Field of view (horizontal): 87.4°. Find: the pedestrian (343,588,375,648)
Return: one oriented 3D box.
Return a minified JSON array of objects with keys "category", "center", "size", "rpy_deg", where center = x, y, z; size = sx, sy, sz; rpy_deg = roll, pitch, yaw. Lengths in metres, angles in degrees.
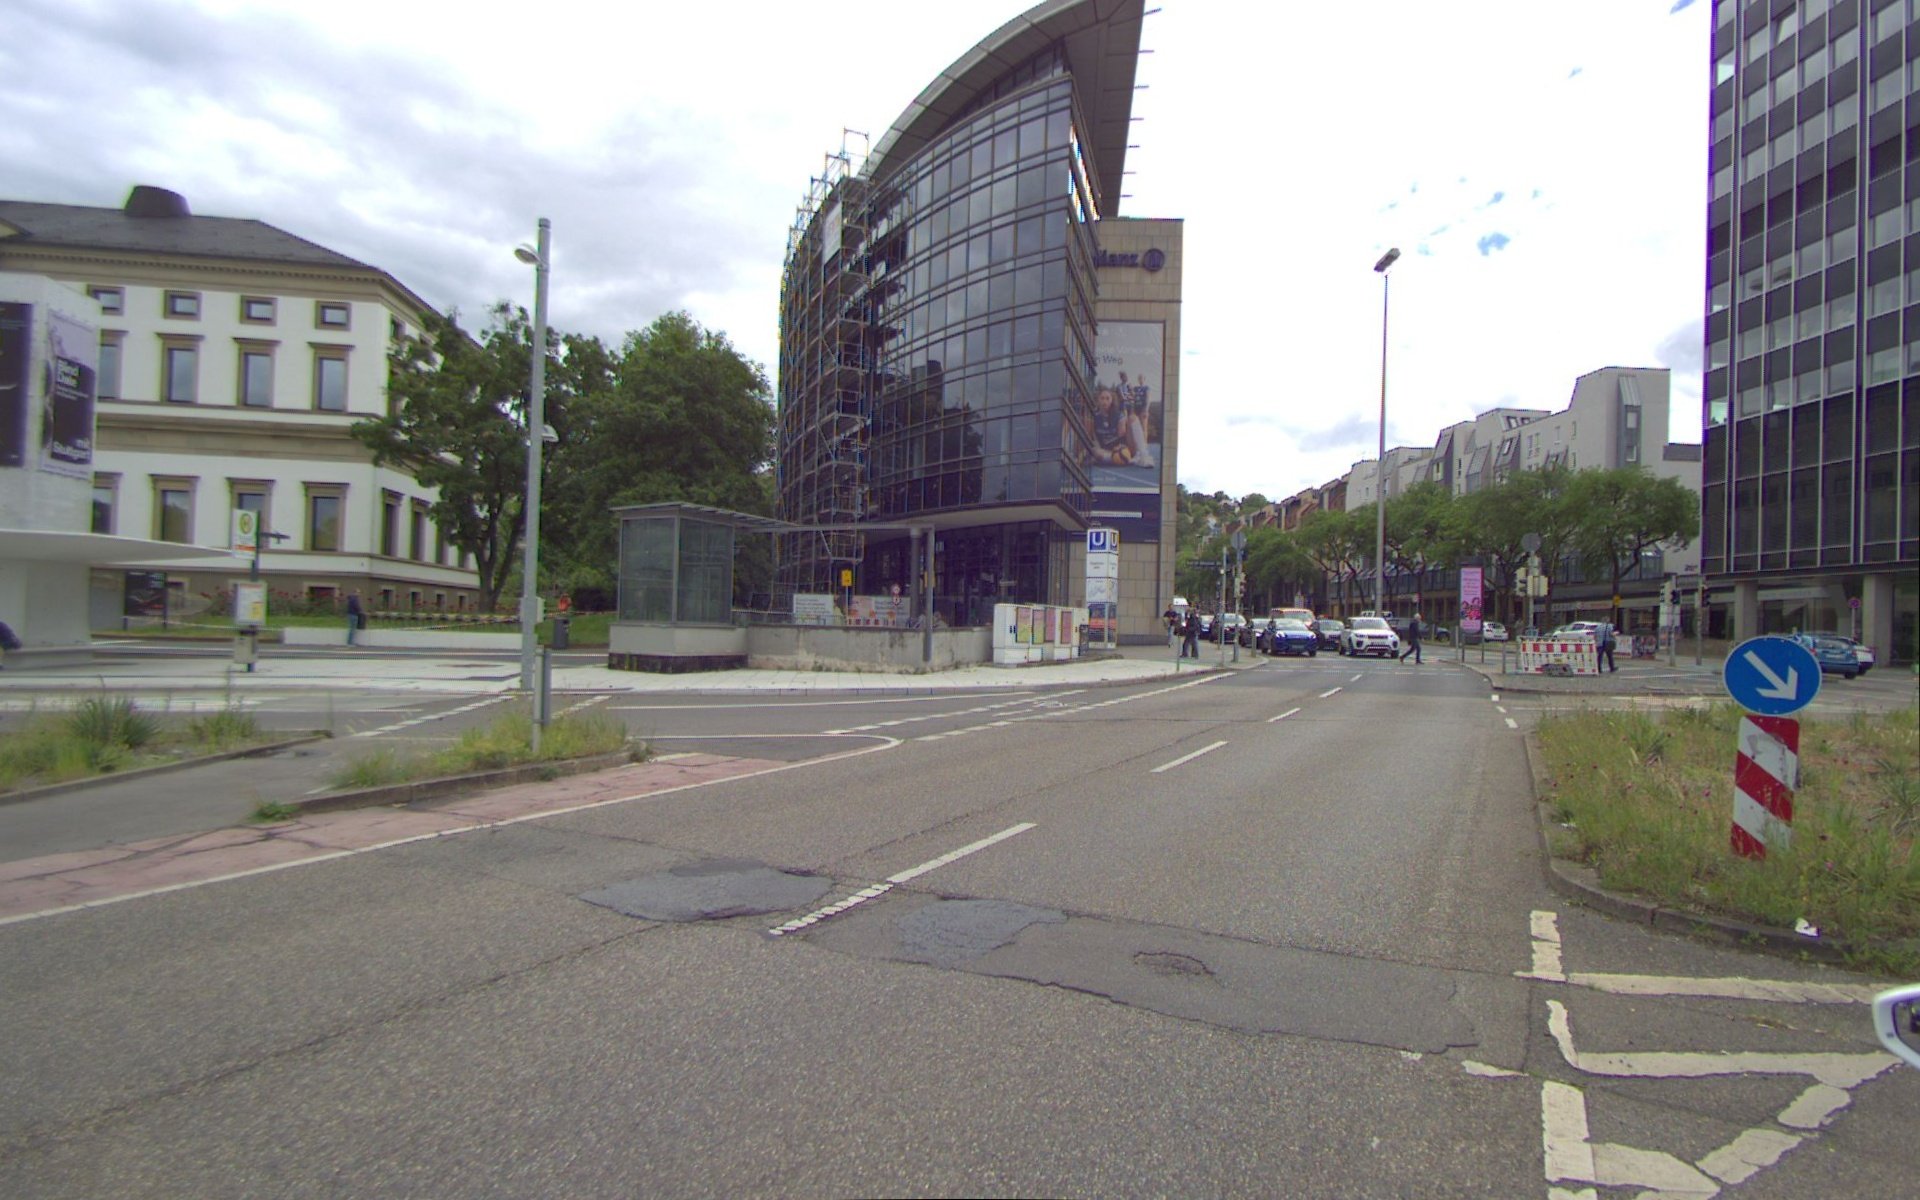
[{"category":"pedestrian","center":[-18.910,0.561,31.626],"size":[0.583,1.837,0.604],"rpy_deg":[1,0,7]}]

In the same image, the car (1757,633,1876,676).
[{"category":"car","center":[34.095,2.139,40.113],"size":[1.801,1.537,3.769],"rpy_deg":[1,-1,7]}]

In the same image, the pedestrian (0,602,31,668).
[{"category":"pedestrian","center":[-20.320,0.727,21.199],"size":[0.746,1.370,0.706],"rpy_deg":[1,0,-2]}]

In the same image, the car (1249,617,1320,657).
[{"category":"car","center":[13.761,1.546,42.801],"size":[1.960,1.545,4.093],"rpy_deg":[2,-1,5]}]

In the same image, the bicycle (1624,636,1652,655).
[{"category":"bicycle","center":[44.091,2.978,65.331],"size":[0.481,1.147,1.886],"rpy_deg":[2,0,-2]}]

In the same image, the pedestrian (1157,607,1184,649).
[{"category":"pedestrian","center":[9.249,1.219,44.154],"size":[0.919,1.834,0.693],"rpy_deg":[0,0,-22]}]

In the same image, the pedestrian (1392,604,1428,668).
[{"category":"pedestrian","center":[15.995,1.273,35.707],"size":[0.864,2.201,0.761],"rpy_deg":[2,0,-15]}]

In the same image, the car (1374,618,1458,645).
[{"category":"car","center":[28.708,1.986,63.308],"size":[4.473,1.478,1.882],"rpy_deg":[2,0,12]}]

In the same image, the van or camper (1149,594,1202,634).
[{"category":"van or camper","center":[16.338,1.060,76.511],"size":[2.951,2.762,6.248],"rpy_deg":[2,0,4]}]

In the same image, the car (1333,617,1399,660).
[{"category":"car","center":[16.943,1.565,42.064],"size":[1.705,1.620,4.322],"rpy_deg":[2,-1,11]}]

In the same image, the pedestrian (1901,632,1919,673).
[{"category":"pedestrian","center":[40.954,2.239,43.053],"size":[0.516,1.734,0.753],"rpy_deg":[1,-2,-2]}]

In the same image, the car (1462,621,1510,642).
[{"category":"car","center":[38.400,2.290,73.393],"size":[2.021,1.437,4.336],"rpy_deg":[1,-1,13]}]

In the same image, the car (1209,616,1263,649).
[{"category":"car","center":[15.445,1.782,56.479],"size":[1.960,1.667,4.684],"rpy_deg":[1,0,3]}]

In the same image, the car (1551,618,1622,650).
[{"category":"car","center":[33.473,1.776,53.800],"size":[1.801,1.587,3.769],"rpy_deg":[1,-1,7]}]

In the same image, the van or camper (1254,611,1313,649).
[{"category":"van or camper","center":[17.893,1.617,55.788],"size":[1.881,1.947,5.085],"rpy_deg":[1,-1,3]}]

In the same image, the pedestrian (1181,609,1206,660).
[{"category":"pedestrian","center":[8.098,1.201,34.885],"size":[0.754,1.723,0.633],"rpy_deg":[2,0,8]}]

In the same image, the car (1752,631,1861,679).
[{"category":"car","center":[30.241,1.922,36.021],"size":[1.802,1.537,3.767],"rpy_deg":[1,-1,21]}]

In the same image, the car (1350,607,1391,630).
[{"category":"car","center":[35.679,1.576,87.497],"size":[1.801,1.899,4.872],"rpy_deg":[1,-1,3]}]

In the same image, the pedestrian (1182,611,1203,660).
[{"category":"pedestrian","center":[8.318,1.256,35.923],"size":[0.631,1.723,0.633],"rpy_deg":[2,0,8]}]

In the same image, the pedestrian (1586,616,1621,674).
[{"category":"pedestrian","center":[20.846,1.444,32.536],"size":[0.703,1.814,0.634],"rpy_deg":[-1,1,3]}]
